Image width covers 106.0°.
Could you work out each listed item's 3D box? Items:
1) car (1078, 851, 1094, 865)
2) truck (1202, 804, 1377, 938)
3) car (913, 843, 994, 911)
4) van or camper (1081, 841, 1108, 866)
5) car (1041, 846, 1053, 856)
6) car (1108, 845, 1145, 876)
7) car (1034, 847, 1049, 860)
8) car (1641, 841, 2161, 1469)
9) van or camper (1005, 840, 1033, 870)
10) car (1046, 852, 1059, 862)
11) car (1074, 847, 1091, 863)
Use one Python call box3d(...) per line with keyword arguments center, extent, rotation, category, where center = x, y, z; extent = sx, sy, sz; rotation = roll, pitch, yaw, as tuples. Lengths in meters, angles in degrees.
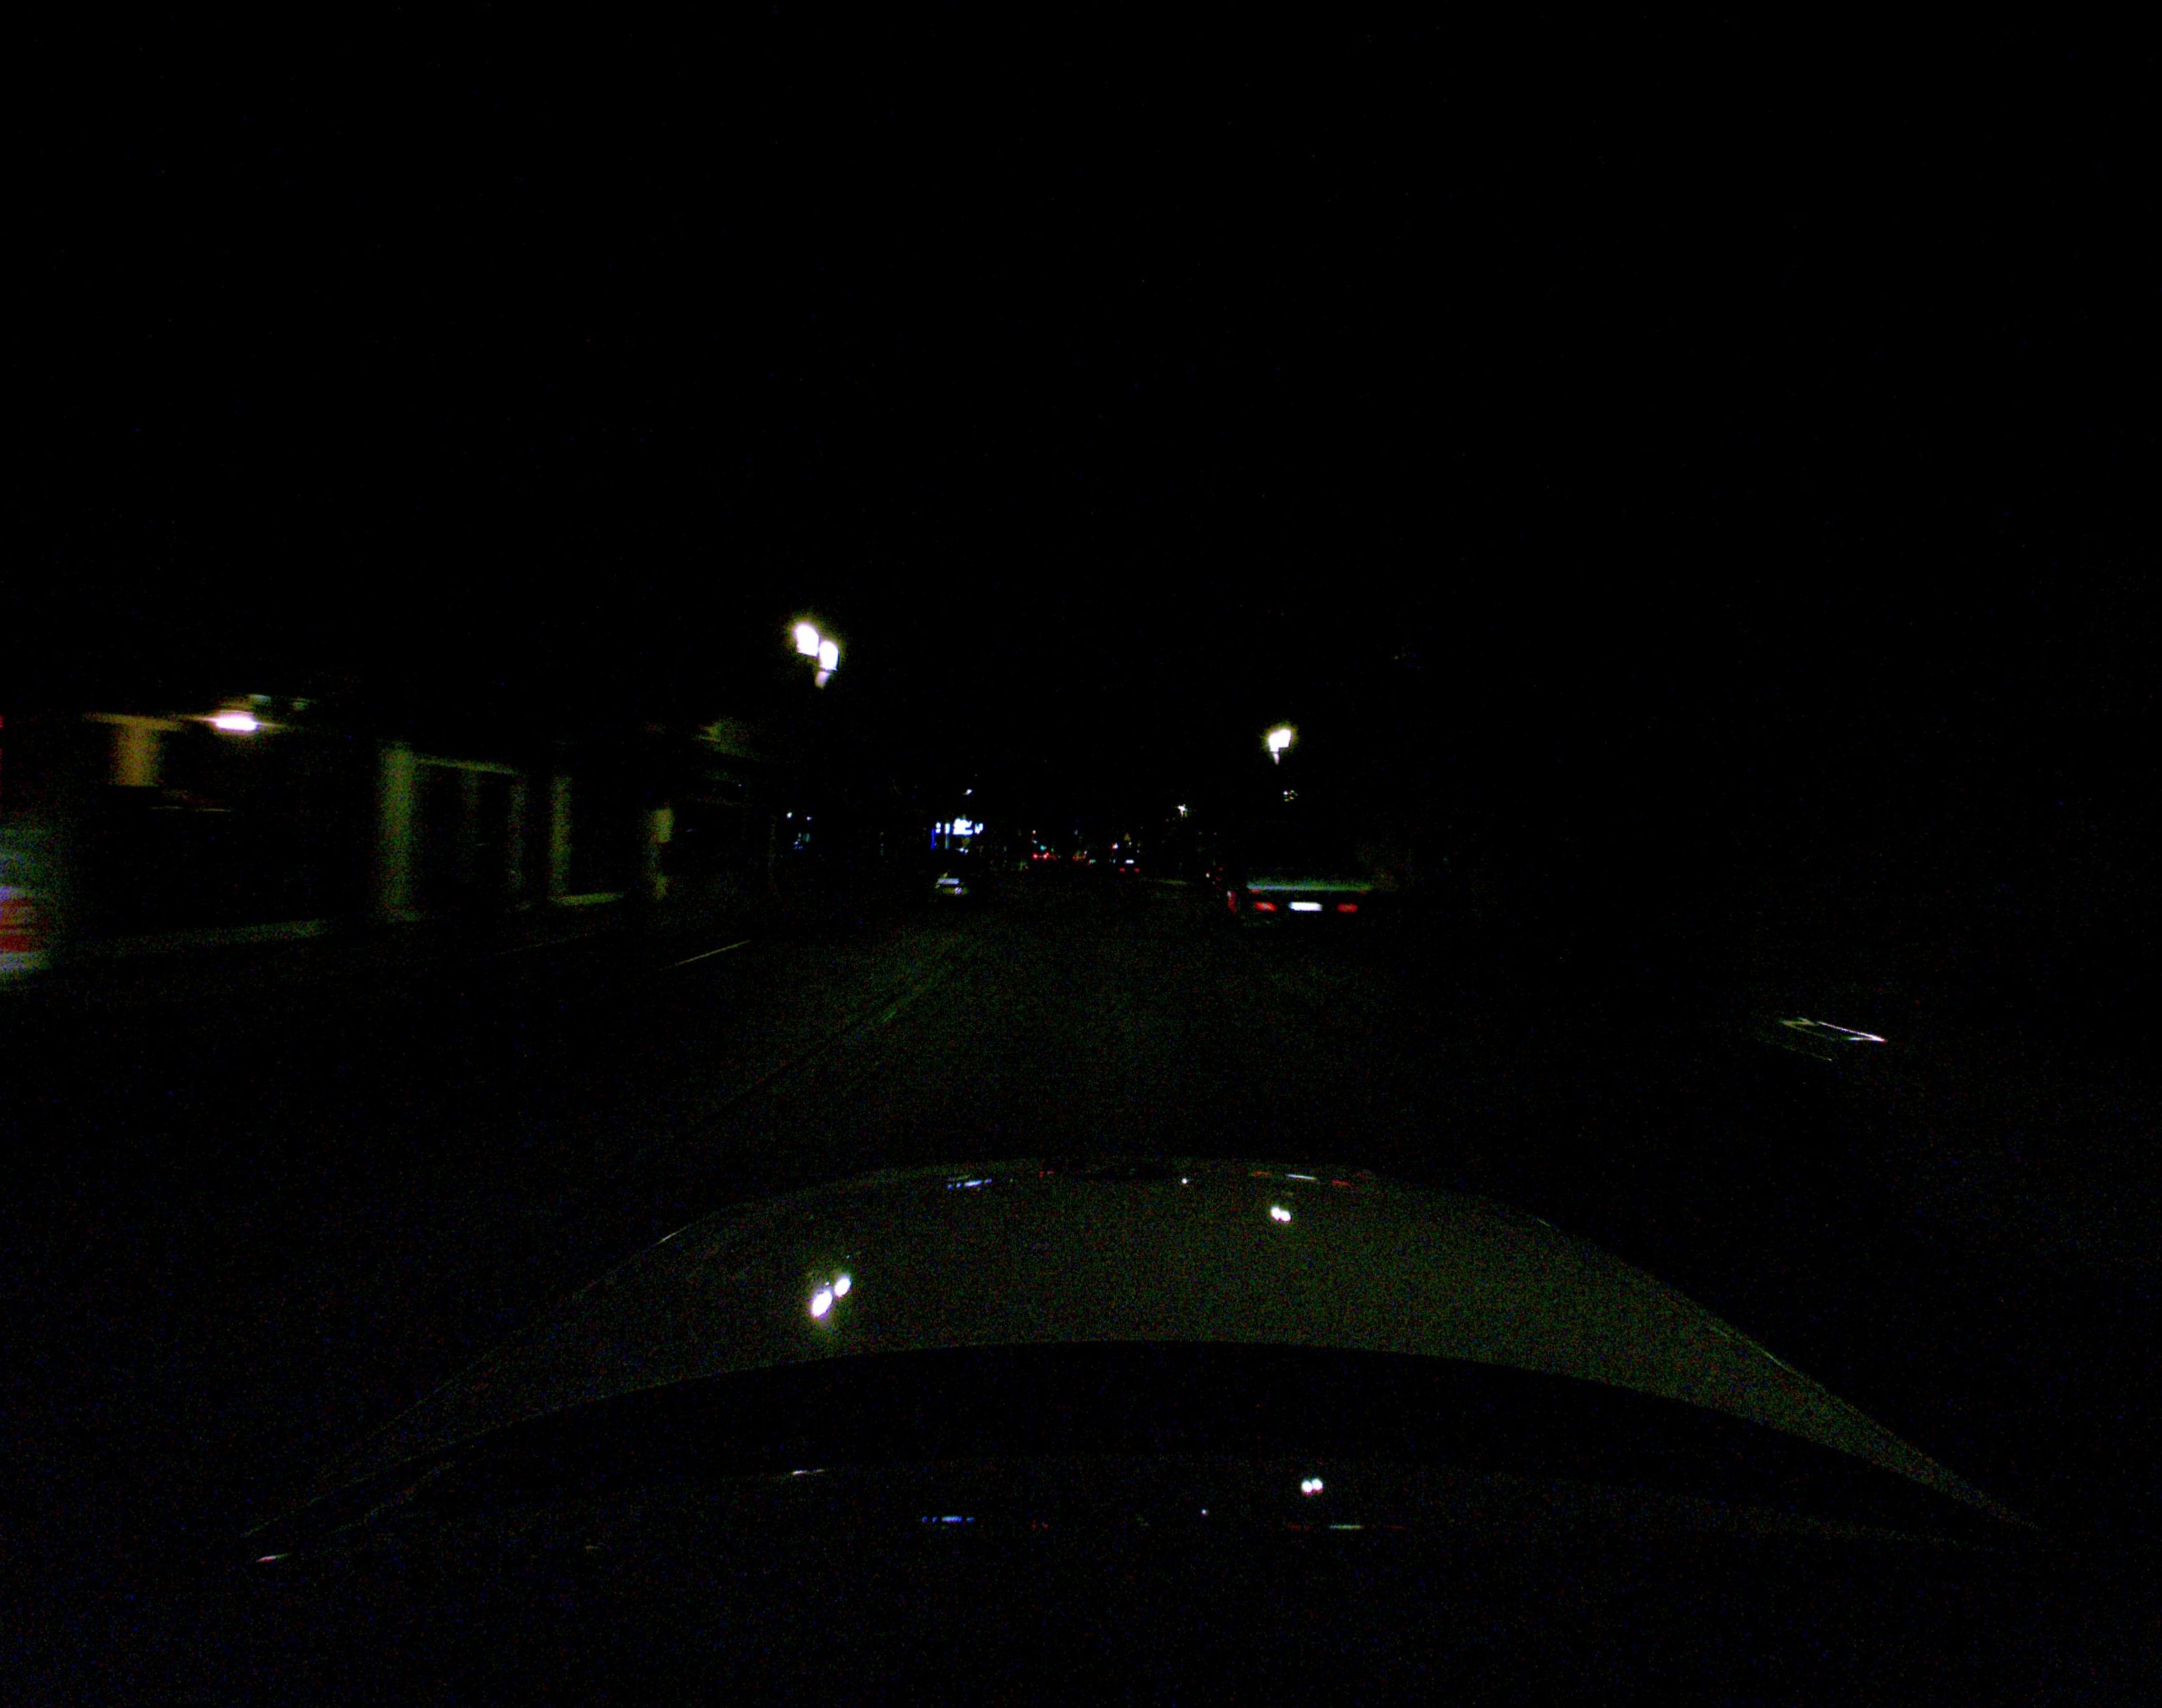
box3d(center=(0.581, 0.438, 91.352), extent=(1.528, 1.418, 3.841), rotation=(2, 0, -3), category="car")
box3d(center=(4.105, 0.287, 17.237), extent=(2.327, 2.312, 5.782), rotation=(1, 0, 2), category="truck")
box3d(center=(-3.282, 0.547, 21.657), extent=(1.670, 1.543, 4.225), rotation=(3, 0, -4), category="car")
box3d(center=(1.269, -0.059, 78.633), extent=(2.105, 2.317, 4.255), rotation=(1, 0, -5), category="van or camper")
box3d(center=(-6.554, -0.517, 156.918), extent=(1.990, 1.823, 3.993), rotation=(2, 0, -5), category="car")
box3d(center=(2.895, 0.396, 52.607), extent=(1.811, 1.828, 4.341), rotation=(1, 0, -4), category="car")
box3d(center=(-5.862, -0.124, 120.297), extent=(1.990, 1.823, 3.994), rotation=(2, 0, -4), category="car")
box3d(center=(3.459, 0.721, 1.829), extent=(1.782, 1.491, 4.062), rotation=(0, 0, 3), category="car")
box3d(center=(-4.550, 0.074, 59.431), extent=(1.863, 2.011, 4.255), rotation=(3, 0, -5), category="van or camper")
box3d(center=(-4.404, 0.471, 124.698), extent=(1.835, 1.542, 3.841), rotation=(2, 0, -3), category="car")
box3d(center=(0.126, 0.105, 97.482), extent=(1.835, 1.901, 3.841), rotation=(2, 0, -3), category="car")
